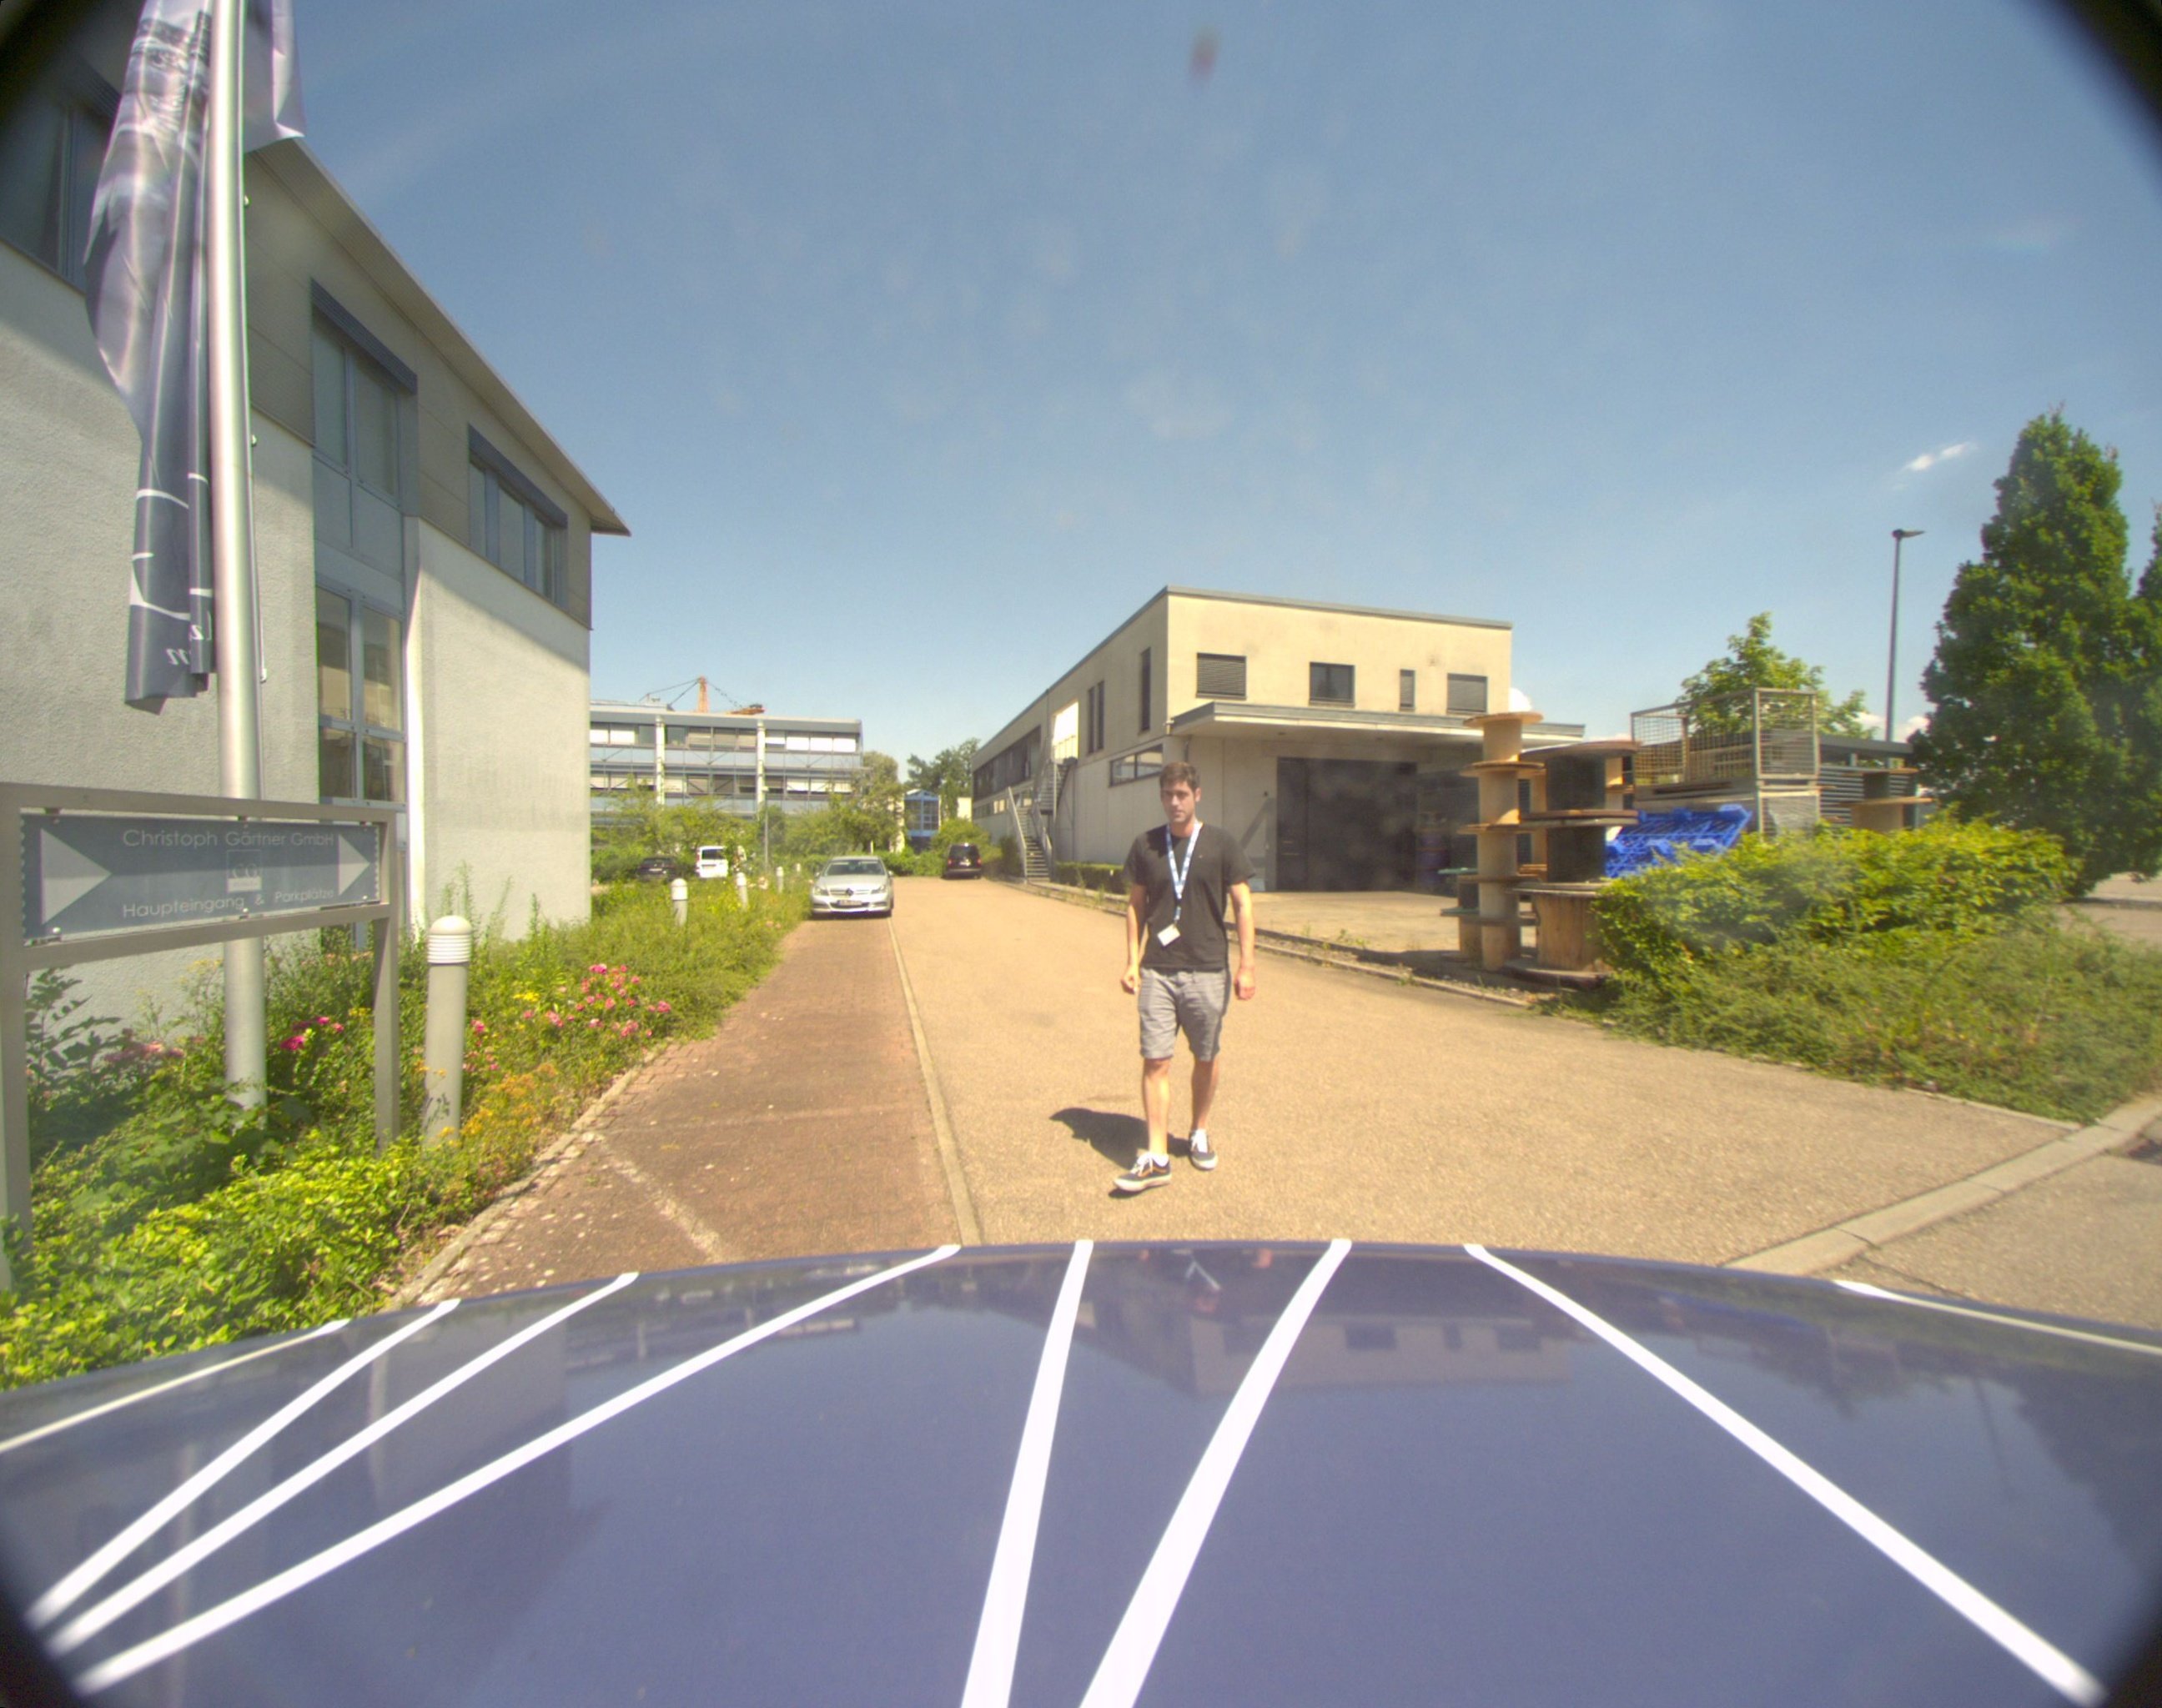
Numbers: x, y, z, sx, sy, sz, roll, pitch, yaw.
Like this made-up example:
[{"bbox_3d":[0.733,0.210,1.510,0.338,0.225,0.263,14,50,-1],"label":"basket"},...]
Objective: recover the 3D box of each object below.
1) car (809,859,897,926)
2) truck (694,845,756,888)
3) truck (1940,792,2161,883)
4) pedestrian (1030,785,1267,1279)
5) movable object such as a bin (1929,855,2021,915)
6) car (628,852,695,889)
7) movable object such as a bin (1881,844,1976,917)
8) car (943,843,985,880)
[{"bbox_3d":[-5.420,0.841,18.471,1.713,1.383,3.806,0,1,-12],"label":"car"},{"bbox_3d":[-16.660,0.539,35.723,2.001,1.883,3.993,-1,1,-17],"label":"truck"},{"bbox_3d":[30.799,-0.560,24.112,5.701,2.656,2.415,-1,1,-15],"label":"truck"},{"bbox_3d":[0.328,0.655,3.291,0.859,1.809,0.905,-1,1,10],"label":"pedestrian"},{"bbox_3d":[17.196,0.579,14.631,0.988,1.078,0.759,-1,1,-11],"label":"movable object such as a bin"},{"bbox_3d":[-19.579,0.712,35.620,1.790,1.537,3.994,-1,1,-15],"label":"car"},{"bbox_3d":[16.100,0.477,14.452,1.073,1.329,0.759,-1,1,-11],"label":"movable object such as a bin"},{"bbox_3d":[-6.176,0.345,39.719,1.789,1.793,3.994,-1,1,-13],"label":"car"}]
